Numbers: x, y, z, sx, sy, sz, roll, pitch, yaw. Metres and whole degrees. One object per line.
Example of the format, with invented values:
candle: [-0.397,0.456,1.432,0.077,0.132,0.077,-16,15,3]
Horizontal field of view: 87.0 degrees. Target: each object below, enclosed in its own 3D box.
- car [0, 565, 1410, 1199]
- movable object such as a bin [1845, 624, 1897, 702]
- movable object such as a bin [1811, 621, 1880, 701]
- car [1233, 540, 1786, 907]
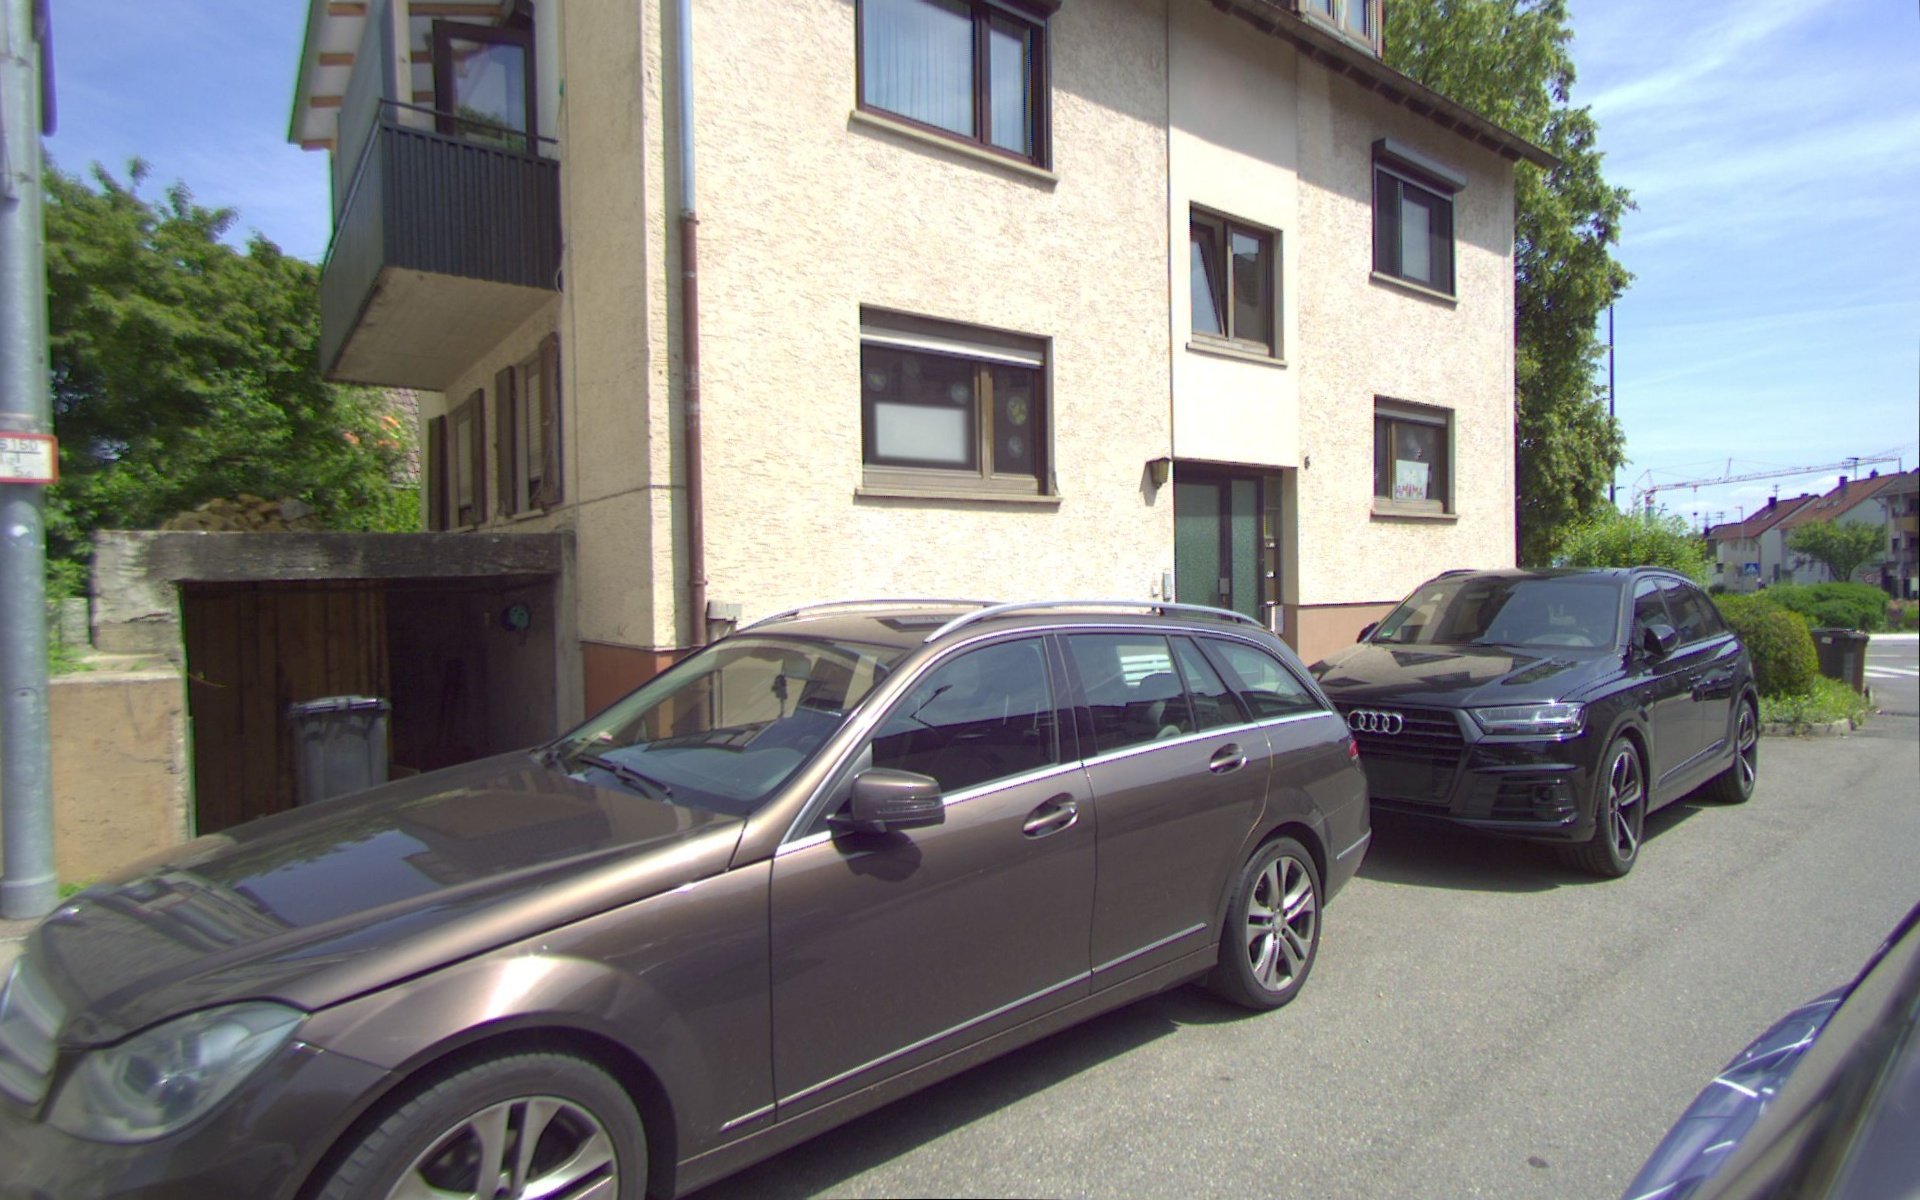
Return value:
car: [-0.356,0.657,3.403,4.282,1.438,1.792,0,1,-41]
movable object such as a bin: [12.357,0.841,13.736,0.499,1.006,0.496,-1,-1,41]
movable object such as a bin: [11.651,0.786,13.320,0.491,1.006,0.527,0,-1,-27]
car: [3.960,0.546,6.889,4.575,1.691,1.846,-1,0,-41]
